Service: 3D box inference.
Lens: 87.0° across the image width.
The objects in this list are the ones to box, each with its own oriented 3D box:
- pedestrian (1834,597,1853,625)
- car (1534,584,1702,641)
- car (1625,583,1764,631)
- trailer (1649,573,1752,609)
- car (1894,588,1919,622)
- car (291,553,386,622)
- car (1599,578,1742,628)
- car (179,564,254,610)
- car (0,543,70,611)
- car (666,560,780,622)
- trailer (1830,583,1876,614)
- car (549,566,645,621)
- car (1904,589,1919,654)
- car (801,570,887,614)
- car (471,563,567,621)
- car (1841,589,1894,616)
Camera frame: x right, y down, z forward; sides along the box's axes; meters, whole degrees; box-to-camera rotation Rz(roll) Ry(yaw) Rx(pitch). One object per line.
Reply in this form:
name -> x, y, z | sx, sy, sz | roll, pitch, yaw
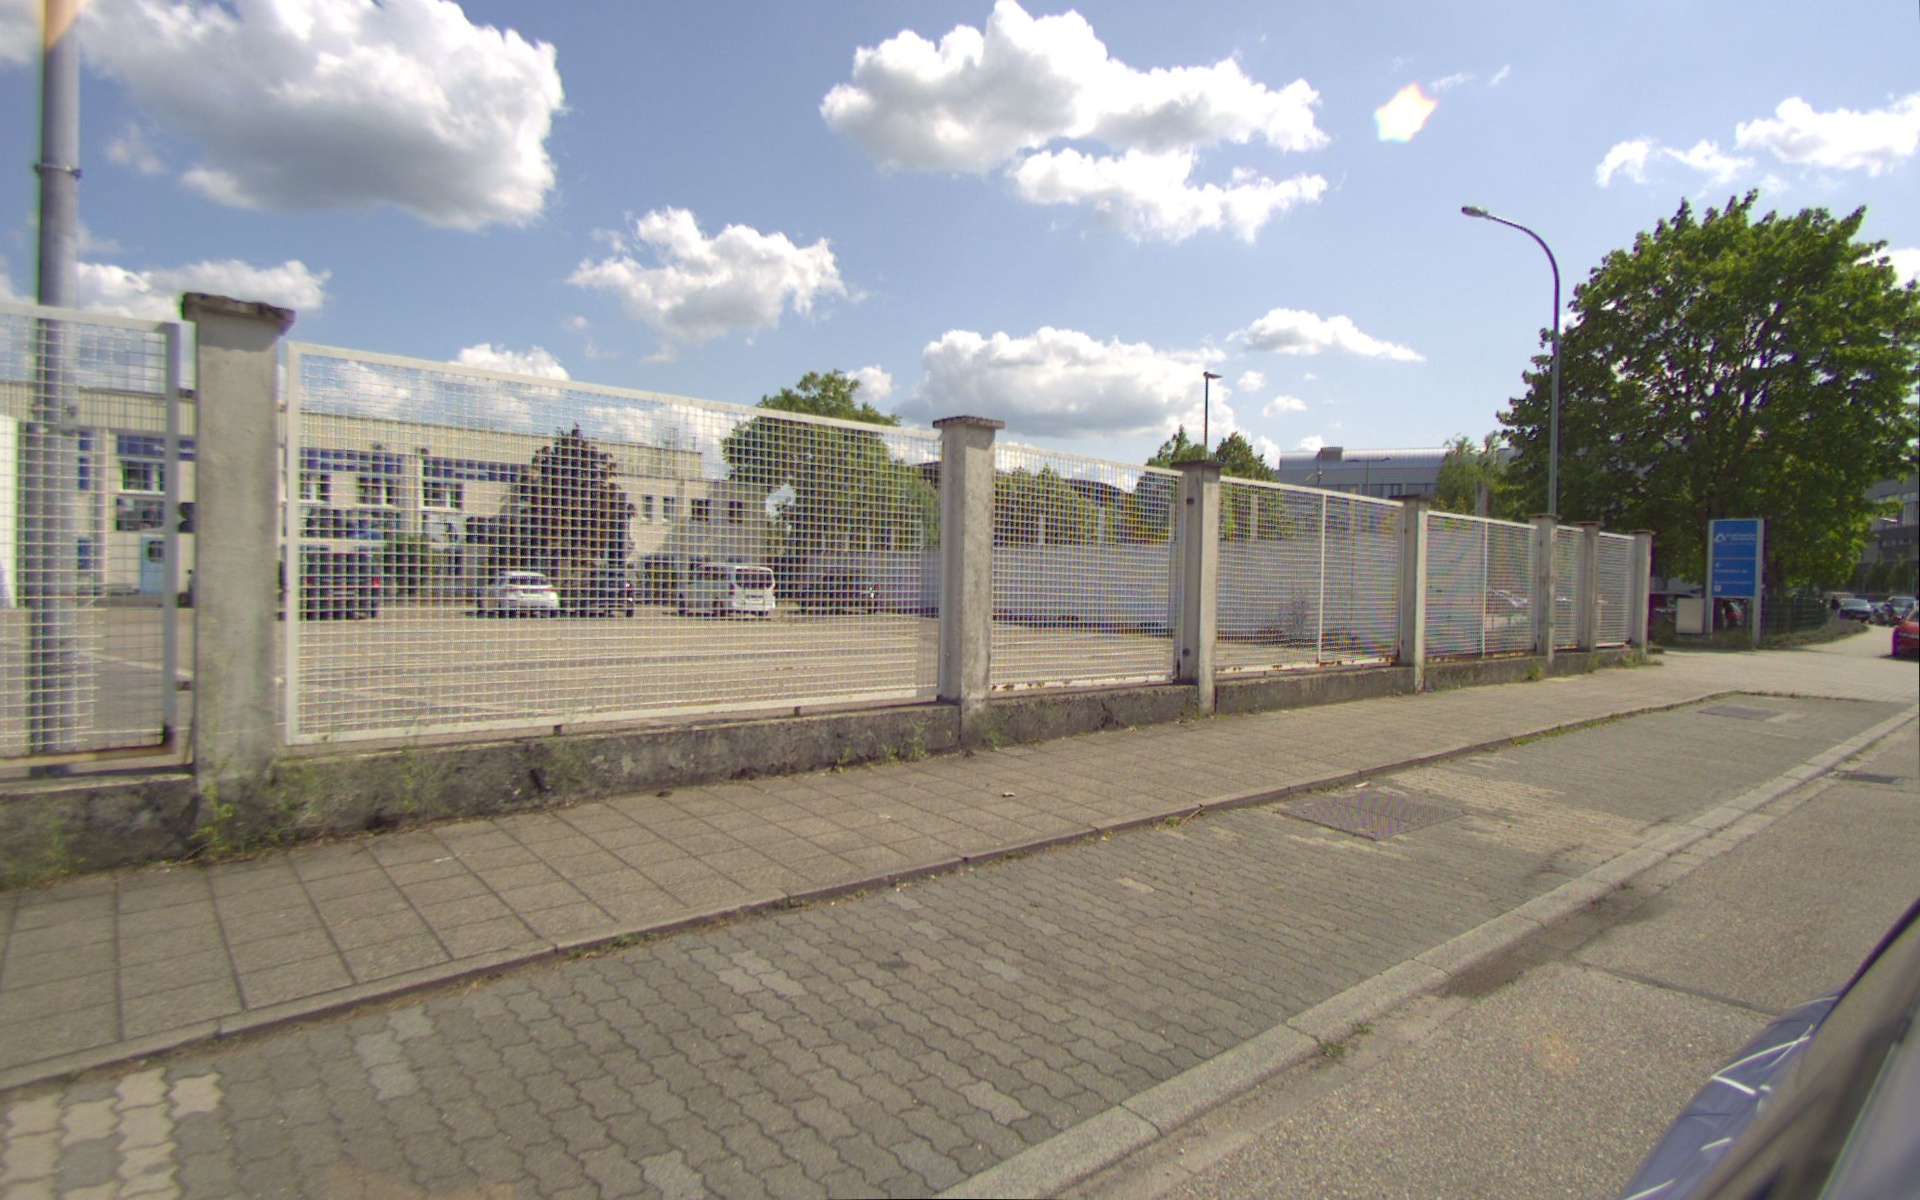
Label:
pedestrian -> 56.343, 0.722, 64.546 | 0.719, 1.713, 0.730 | 6, 3, 34
car -> 21.448, 0.346, 33.121 | 1.876, 1.613, 4.218 | -1, 2, -40
car -> 27.653, 0.225, 38.182 | 1.876, 1.613, 3.883 | -1, 2, -40
trailer -> 45.696, -0.596, 62.589 | 5.033, 2.108, 2.035 | 2, 1, 36
car -> 52.811, 0.279, 55.449 | 1.846, 1.787, 5.009 | 4, 3, 37
car -> -18.329, -0.428, 29.764 | 1.900, 1.876, 4.401 | 0, 2, -38
car -> 25.628, 0.059, 36.584 | 1.876, 1.657, 3.883 | 0, 2, -40
car -> -26.279, -0.441, 35.718 | 1.814, 1.529, 3.993 | -1, 0, -41
car -> -30.951, -0.808, 33.715 | 1.902, 2.057, 4.397 | -1, 4, -42
car -> -8.783, -0.397, 37.151 | 1.902, 1.971, 5.063 | -1, 4, -41
trailer -> 65.434, -0.132, 74.214 | 1.738, 2.092, 3.904 | 5, 3, 31
car -> -12.218, -0.279, 33.927 | 1.900, 1.660, 3.921 | 0, 3, -38
car -> 24.336, 0.567, 24.391 | 4.150, 1.504, 1.758 | 0, 5, -41
car -> -4.666, -0.305, 40.251 | 1.879, 1.672, 4.003 | 0, 0, -31
car -> -14.215, -0.306, 32.537 | 1.900, 1.660, 3.922 | 0, 3, -38
car -> 63.188, 0.172, 70.530 | 1.853, 1.703, 4.656 | 4, 3, 32
